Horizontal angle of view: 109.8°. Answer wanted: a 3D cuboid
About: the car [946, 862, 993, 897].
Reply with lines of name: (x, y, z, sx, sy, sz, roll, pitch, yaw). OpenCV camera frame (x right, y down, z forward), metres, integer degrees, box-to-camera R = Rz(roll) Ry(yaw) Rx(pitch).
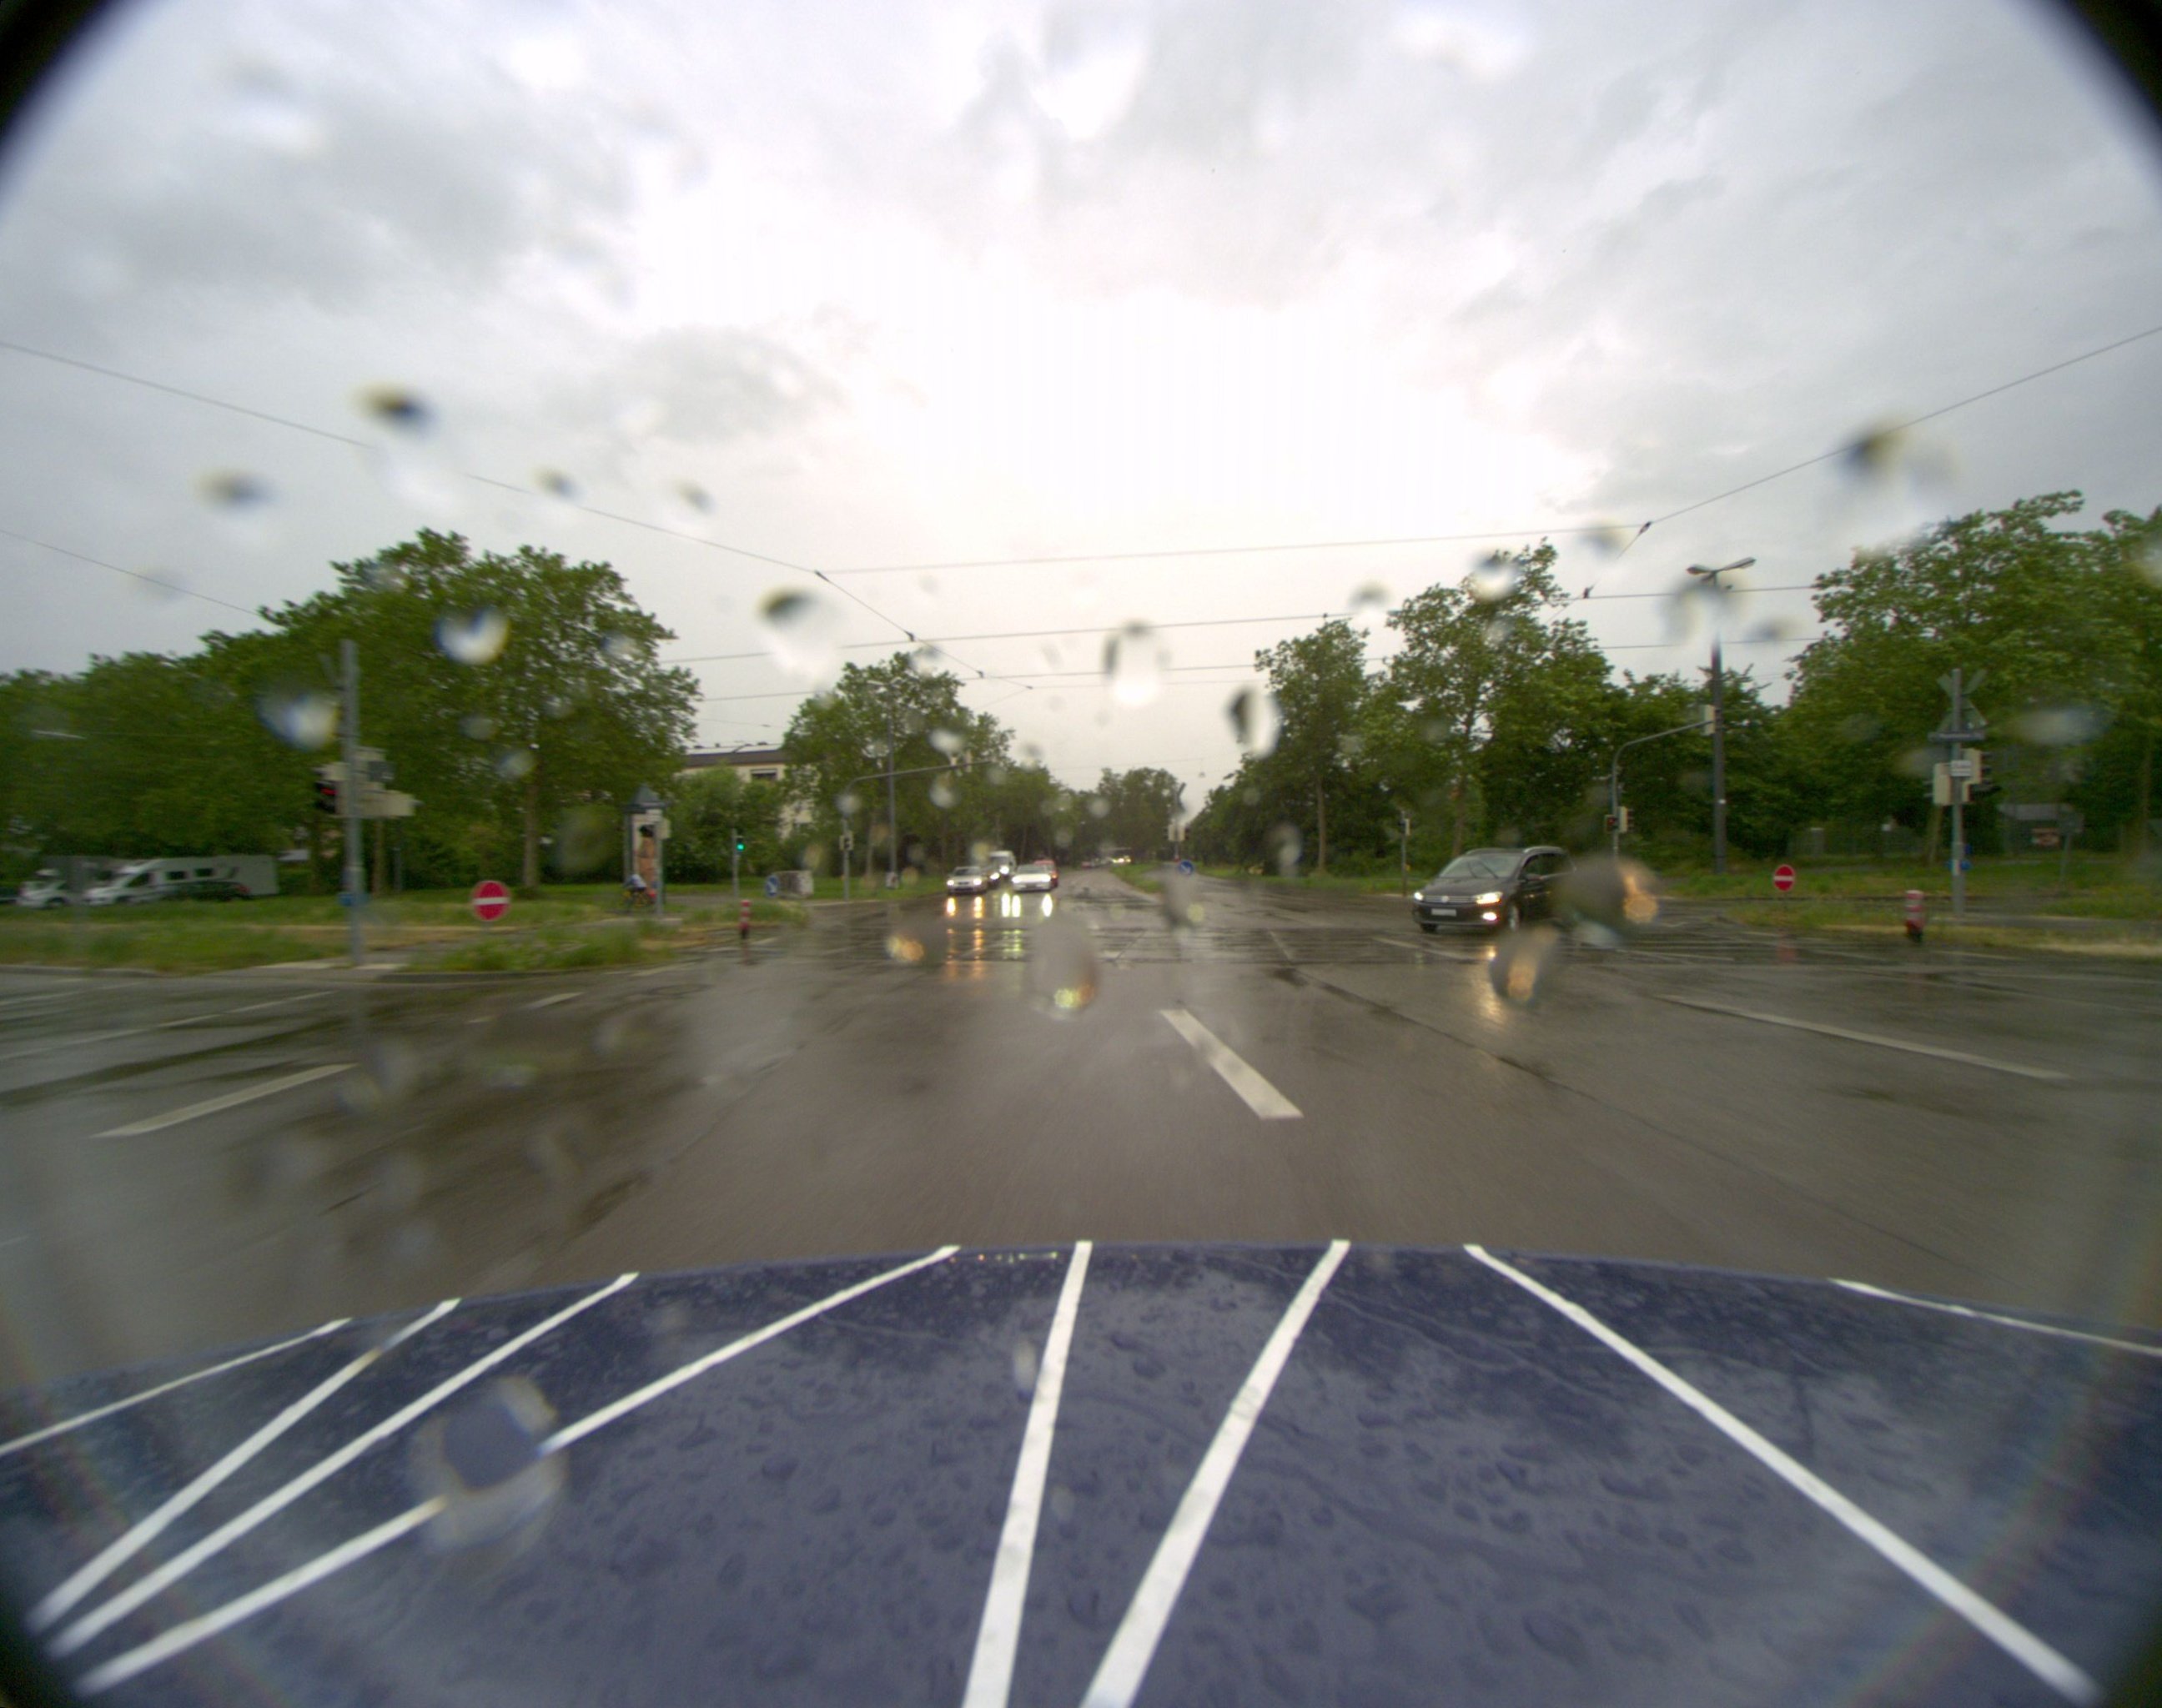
car: (-5.733, 1.306, 39.412, 1.933, 1.681, 4.407, -1, -1, -3)

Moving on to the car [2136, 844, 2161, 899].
car: (28.728, 0.373, 18.259, 3.993, 1.355, 1.790, -1, -1, 4)

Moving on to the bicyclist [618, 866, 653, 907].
bicyclist: (-16.845, 1.208, 28.743, 0.843, 1.497, 0.693, -2, -1, 0)

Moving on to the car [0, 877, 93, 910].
car: (-67.625, 2.543, 49.145, 2.180, 2.001, 4.195, -2, -1, 29)

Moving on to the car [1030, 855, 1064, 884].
car: (-2.023, 0.950, 46.290, 1.789, 1.597, 4.620, -1, -1, 1)

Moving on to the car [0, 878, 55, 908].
car: (-71.595, 2.598, 50.194, 1.962, 1.933, 4.321, -2, -1, 29)

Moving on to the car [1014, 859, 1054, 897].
car: (-2.425, 1.212, 39.673, 1.933, 1.817, 4.608, -1, -1, -3)

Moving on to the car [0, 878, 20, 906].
car: (-78.360, 2.739, 53.009, 2.424, 2.001, 4.748, -2, -1, 29)

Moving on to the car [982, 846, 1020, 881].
car: (-5.662, 0.706, 54.417, 1.998, 2.377, 5.624, -1, -1, 0)

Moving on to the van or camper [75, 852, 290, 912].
van or camper: (-51.730, 1.540, 44.087, 3.255, 3.159, 7.359, -2, -1, 21)

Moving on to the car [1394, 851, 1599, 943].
car: (8.511, 0.778, 15.430, 4.533, 1.592, 1.863, -1, -1, -36)

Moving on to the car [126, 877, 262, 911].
car: (-48.780, 2.158, 41.900, 1.995, 1.706, 4.467, -2, -1, 24)

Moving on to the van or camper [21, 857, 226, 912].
van or camper: (-59.960, 1.822, 47.879, 3.254, 3.159, 7.464, -2, -1, 26)

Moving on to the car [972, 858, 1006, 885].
car: (-5.724, 1.089, 47.604, 1.790, 1.597, 4.069, -1, -1, -3)

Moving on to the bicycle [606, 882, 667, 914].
bicycle: (-16.803, 1.668, 28.742, 1.884, 1.110, 0.693, -2, -1, 0)
